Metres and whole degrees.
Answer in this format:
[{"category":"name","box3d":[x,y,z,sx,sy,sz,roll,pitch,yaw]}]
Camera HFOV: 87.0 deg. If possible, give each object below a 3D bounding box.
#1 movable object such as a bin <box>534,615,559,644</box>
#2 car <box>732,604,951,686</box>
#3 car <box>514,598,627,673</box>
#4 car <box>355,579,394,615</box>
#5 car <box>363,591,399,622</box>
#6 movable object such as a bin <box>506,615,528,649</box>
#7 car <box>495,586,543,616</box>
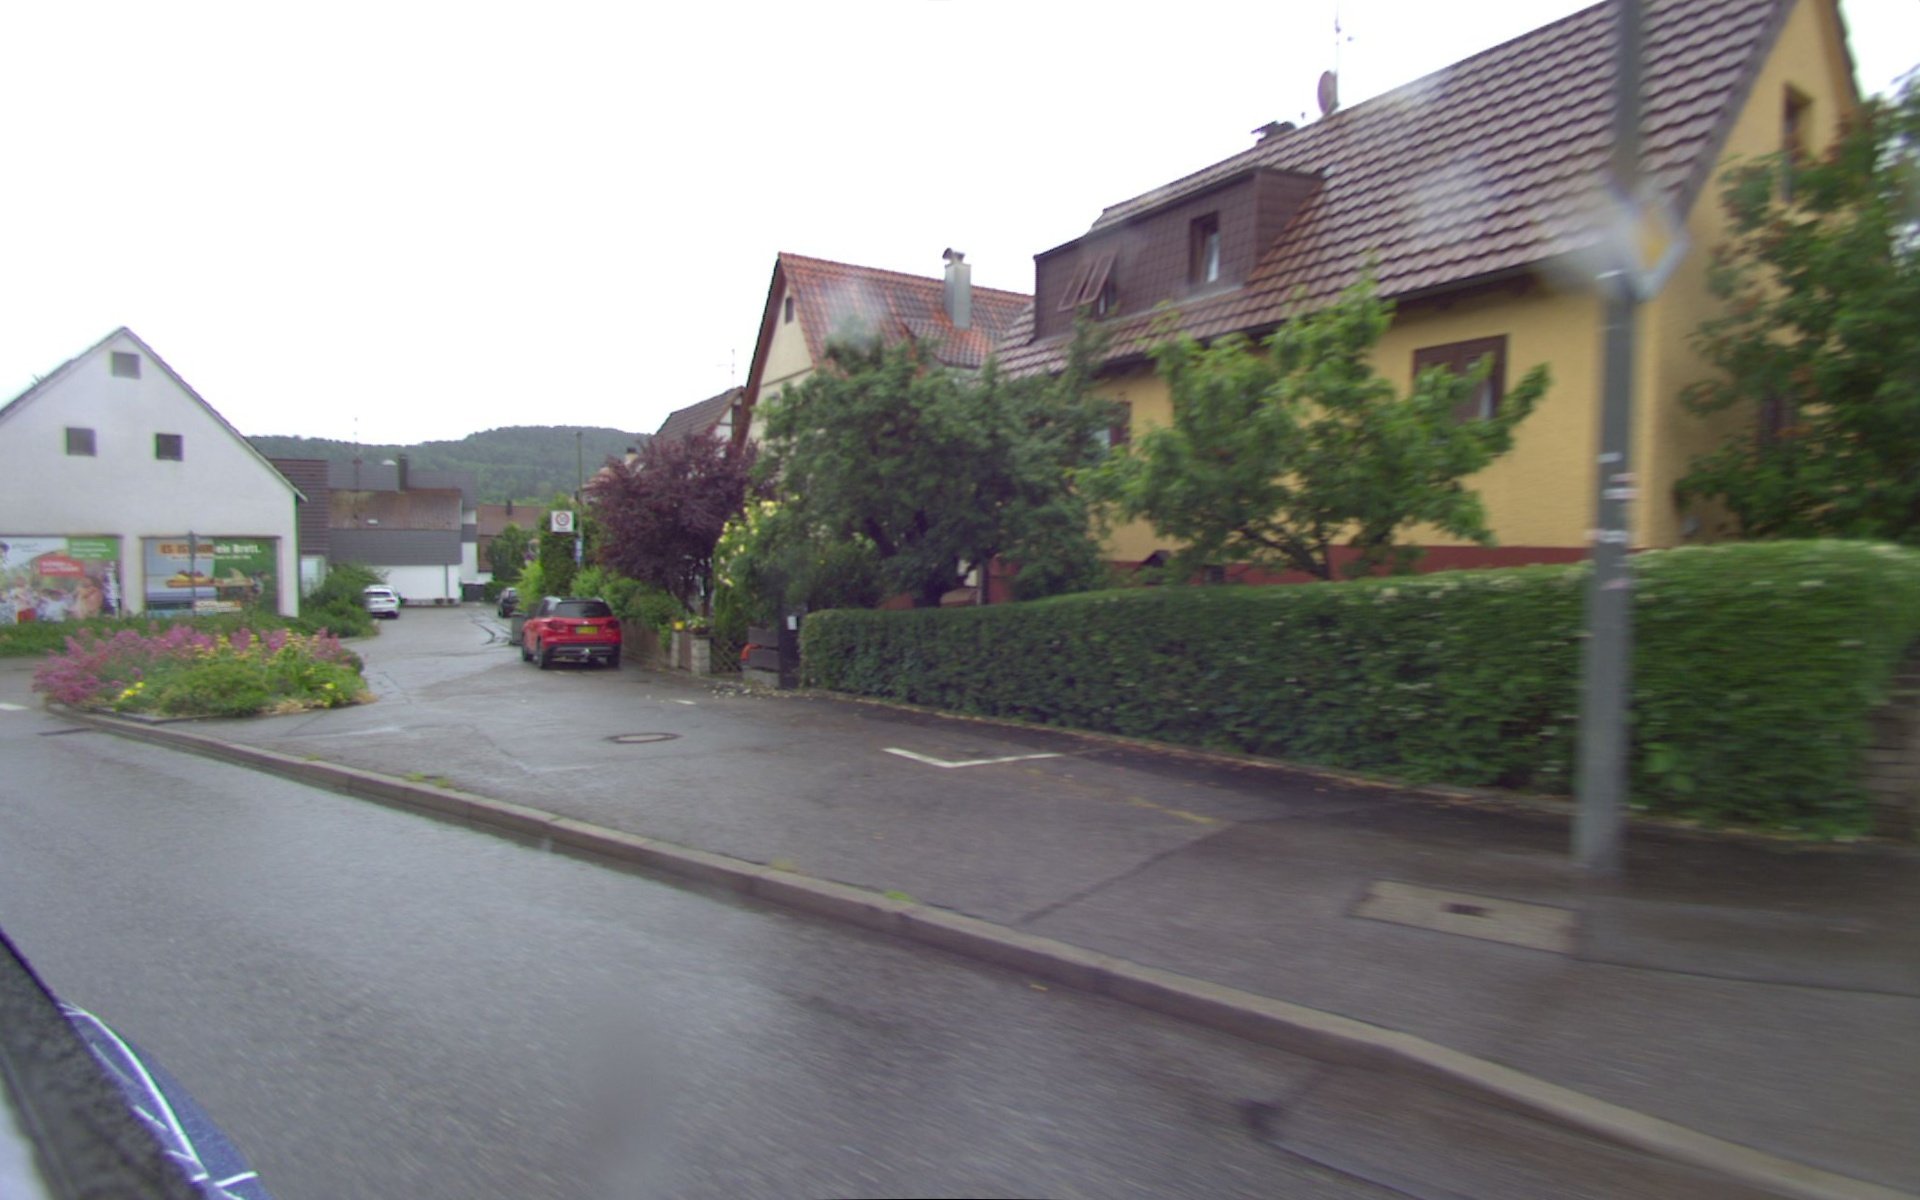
[{"category":"movable object such as a bin","box3d":[-13.442,0.953,32.880,0.692,0.894,0.653,-1,0,-28]},{"category":"car","box3d":[-2.350,0.833,20.351,3.933,1.394,1.868,-1,0,-33]},{"category":"car","box3d":[-9.224,0.769,23.801,1.725,1.574,4.030,-1,0,-32]},{"category":"car","box3d":[-31.722,-0.152,54.811,1.729,1.903,3.751,-1,0,-30]},{"category":"car","box3d":[-28.440,0.301,49.686,1.394,1.439,3.503,-1,1,-31]},{"category":"movable object such as a bin","box3d":[-14.192,1.019,32.434,0.569,1.053,0.653,-1,0,-28]},{"category":"car","box3d":[-22.757,0.062,52.191,1.700,1.504,3.981,-1,0,-32]}]
